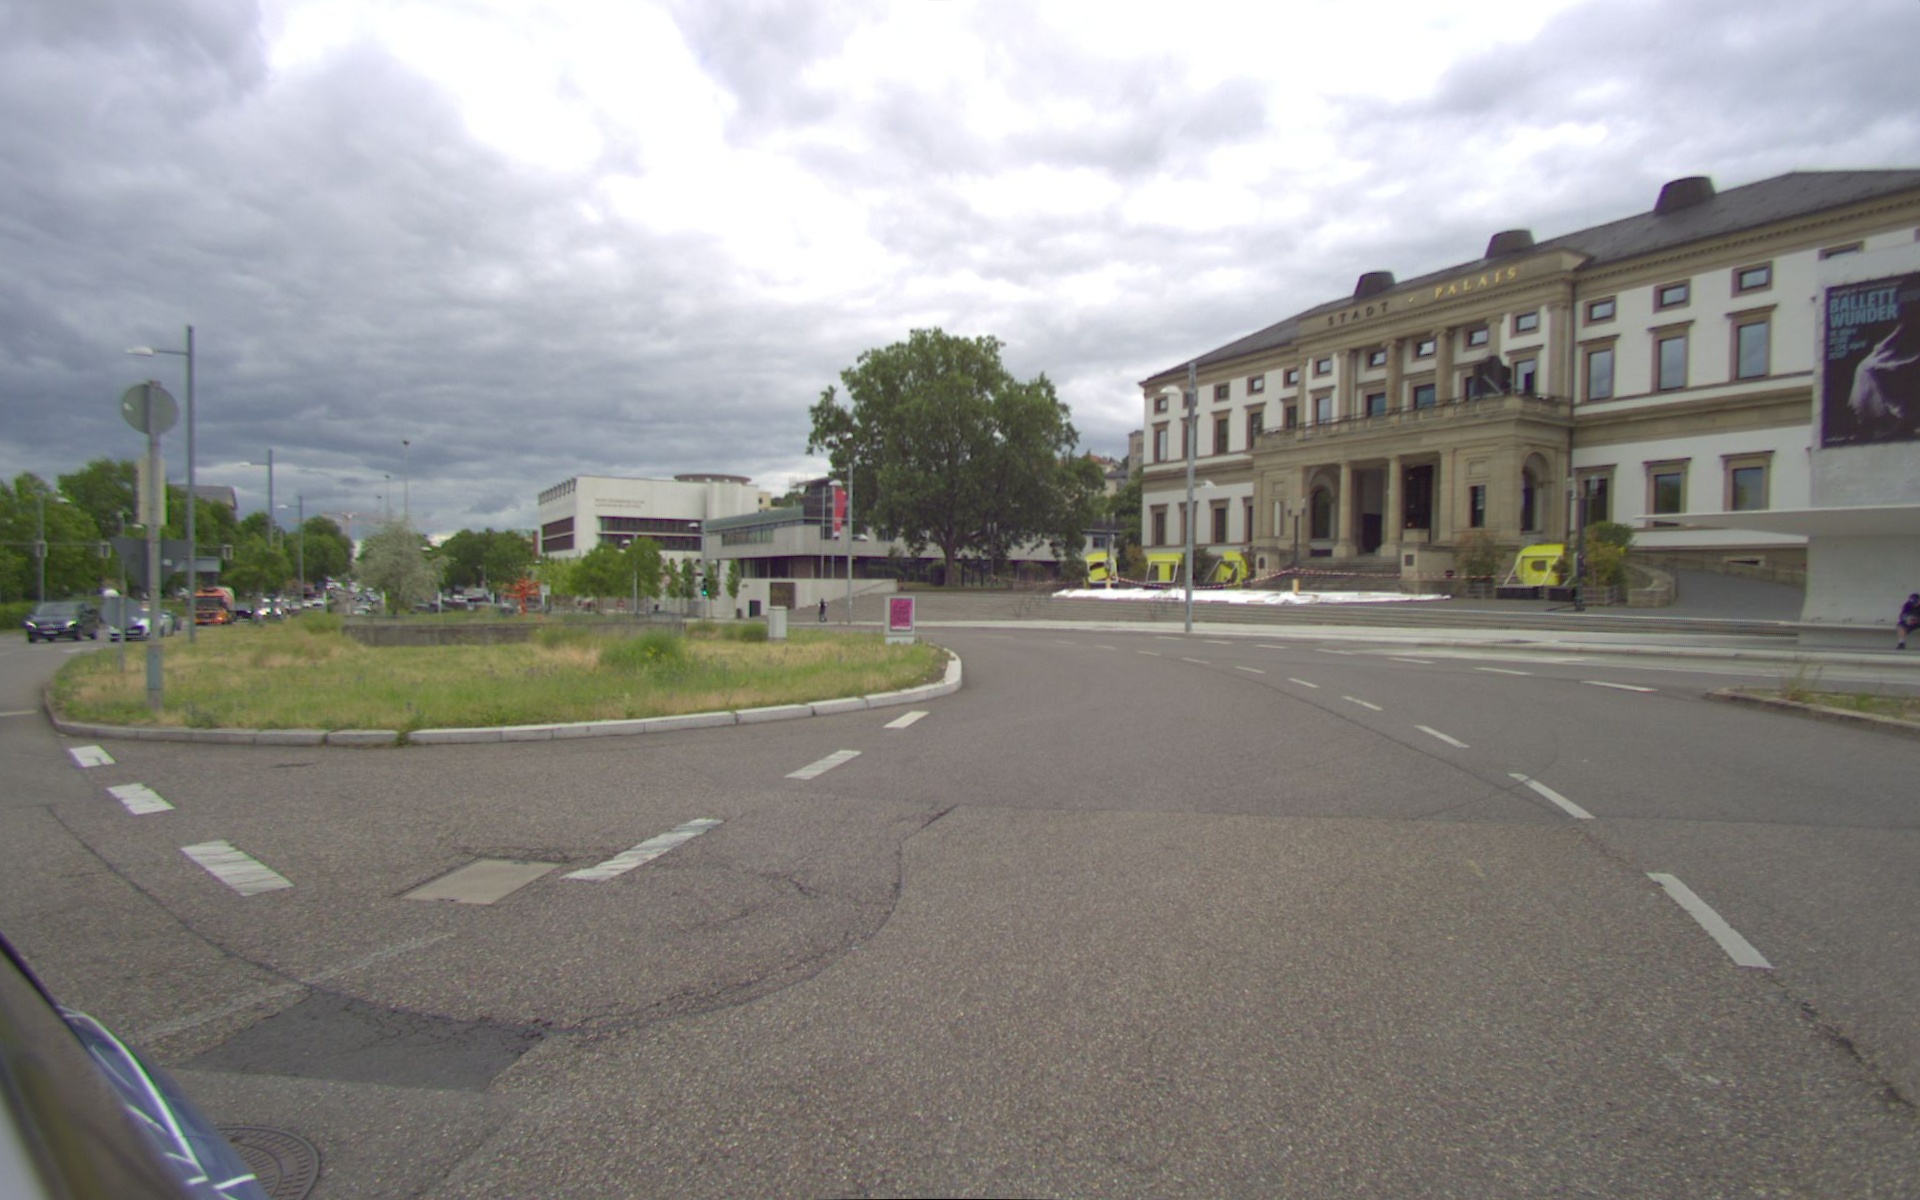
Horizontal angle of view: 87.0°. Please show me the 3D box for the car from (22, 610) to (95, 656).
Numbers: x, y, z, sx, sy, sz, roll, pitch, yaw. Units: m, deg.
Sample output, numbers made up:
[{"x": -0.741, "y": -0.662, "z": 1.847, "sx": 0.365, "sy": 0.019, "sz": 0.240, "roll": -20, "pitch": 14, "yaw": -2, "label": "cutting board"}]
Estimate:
[{"x": -42.561, "y": 1.495, "z": 47.878, "sx": 1.829, "sy": 2.003, "sz": 4.655, "roll": 0, "pitch": 0, "yaw": -32, "label": "car"}]

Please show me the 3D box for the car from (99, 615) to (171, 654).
[{"x": -37.404, "y": 1.516, "z": 45.985, "sx": 2.061, "sy": 1.621, "sz": 4.424, "roll": 0, "pitch": 0, "yaw": -33, "label": "car"}]

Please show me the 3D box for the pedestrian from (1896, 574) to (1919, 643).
[{"x": 19.454, "y": 0.163, "z": 20.304, "sx": 0.694, "sy": 1.362, "sz": 0.763, "roll": -1, "pitch": 1, "yaw": -25, "label": "pedestrian"}]

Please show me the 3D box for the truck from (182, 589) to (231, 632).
[{"x": -67.680, "y": 0.886, "z": 91.102, "sx": 2.682, "sy": 3.643, "sz": 9.205, "roll": -2, "pitch": 1, "yaw": -32, "label": "truck"}]

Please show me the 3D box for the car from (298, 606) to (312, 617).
[{"x": -118.448, "y": 2.069, "z": 182.979, "sx": 1.753, "sy": 1.859, "sz": 3.811, "roll": -2, "pitch": 1, "yaw": -28, "label": "car"}]

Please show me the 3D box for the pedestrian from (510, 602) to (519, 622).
[{"x": -36.383, "y": 0.972, "z": 82.589, "sx": 0.469, "sy": 1.647, "sz": 0.441, "roll": -1, "pitch": 0, "yaw": 30, "label": "pedestrian"}]

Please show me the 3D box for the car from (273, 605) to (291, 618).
[{"x": -100.468, "y": 1.715, "z": 150.042, "sx": 1.753, "sy": 1.859, "sz": 3.811, "roll": -1, "pitch": 0, "yaw": -28, "label": "car"}]

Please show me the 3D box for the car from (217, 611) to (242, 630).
[{"x": -76.068, "y": 2.143, "z": 105.369, "sx": 1.753, "sy": 1.922, "sz": 3.810, "roll": -1, "pitch": 0, "yaw": -31, "label": "car"}]

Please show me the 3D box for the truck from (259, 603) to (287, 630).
[{"x": -73.348, "y": 1.700, "z": 108.054, "sx": 1.923, "sy": 2.804, "sz": 5.807, "roll": -1, "pitch": 1, "yaw": -29, "label": "truck"}]

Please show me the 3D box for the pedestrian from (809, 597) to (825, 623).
[{"x": -9.712, "y": 0.658, "z": 68.617, "sx": 0.672, "sy": 1.761, "sz": 0.893, "roll": -1, "pitch": 0, "yaw": -36, "label": "pedestrian"}]
